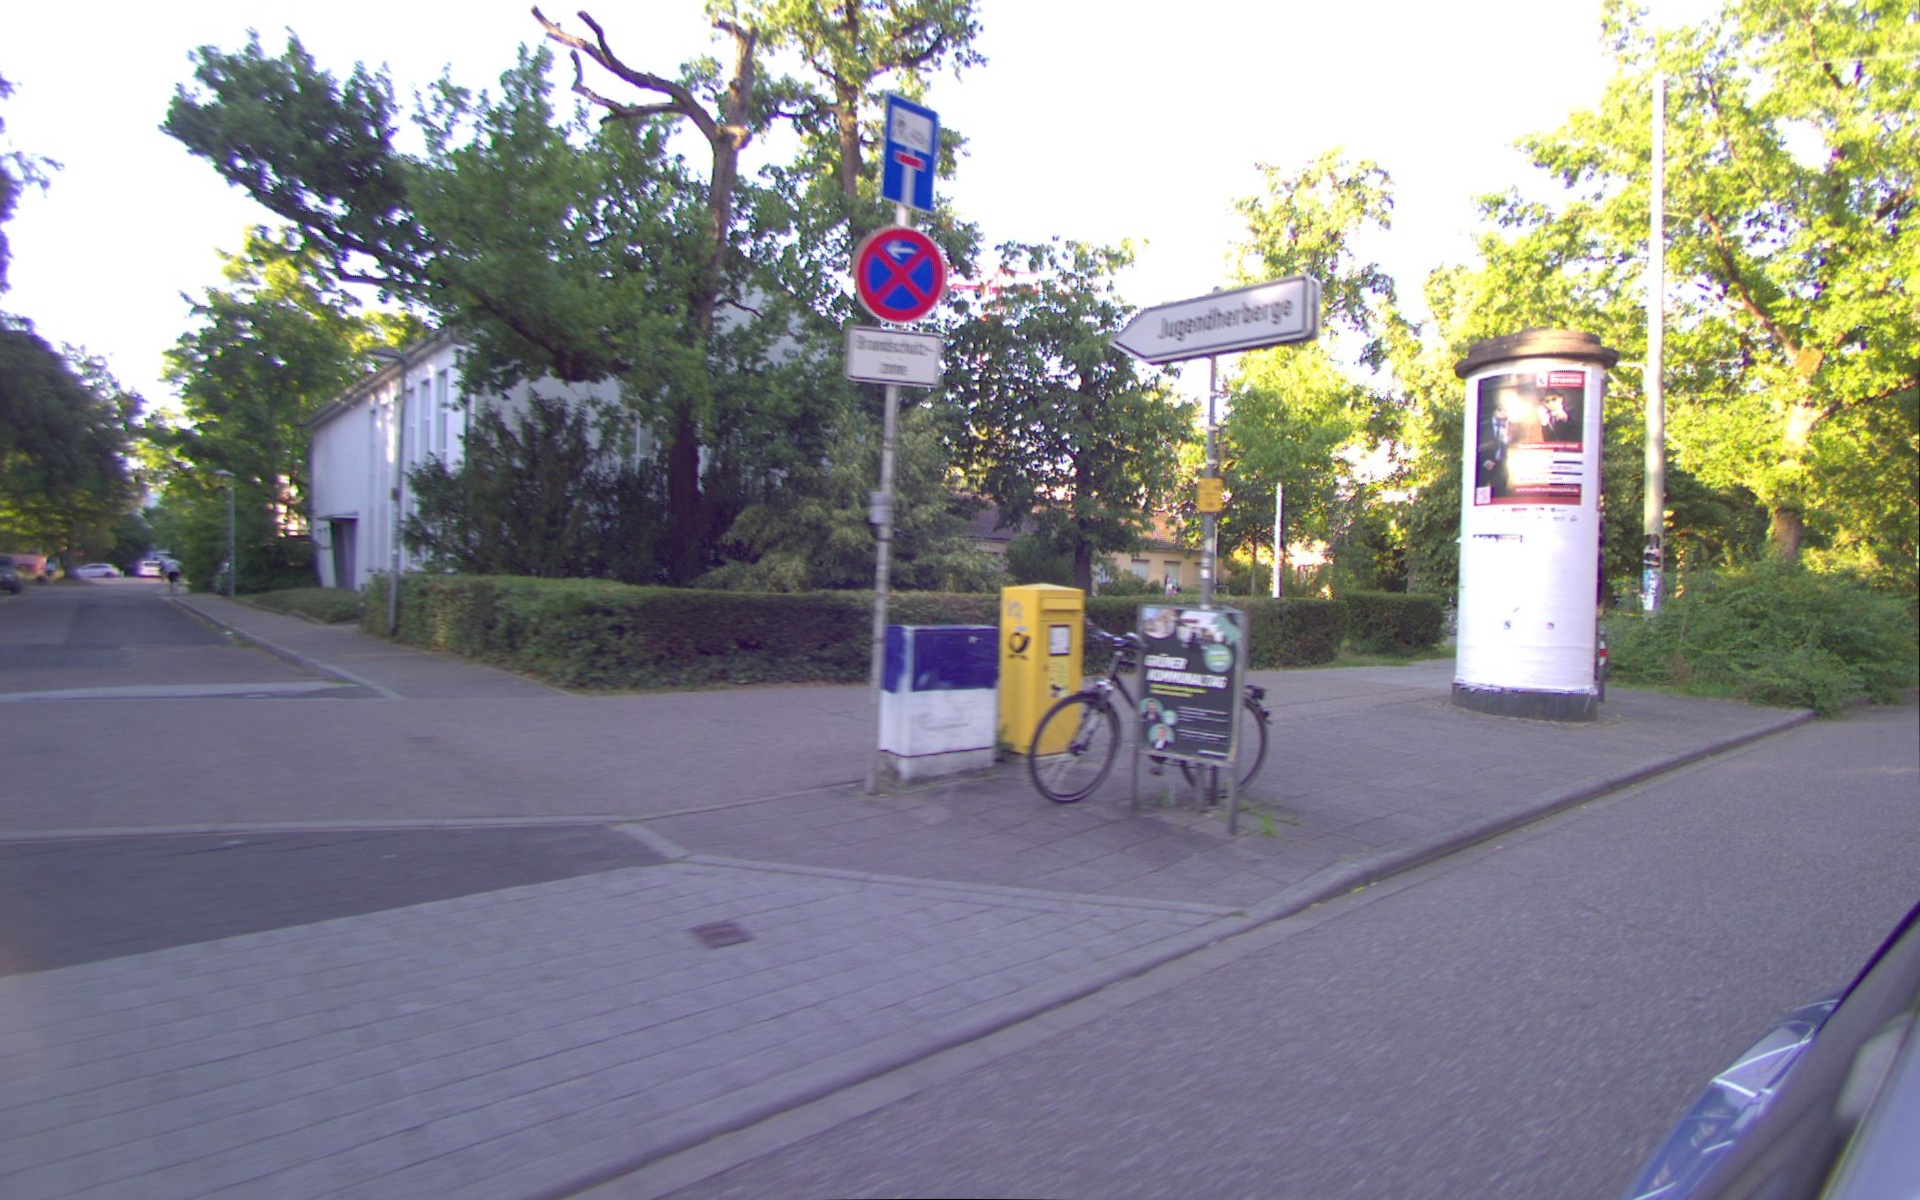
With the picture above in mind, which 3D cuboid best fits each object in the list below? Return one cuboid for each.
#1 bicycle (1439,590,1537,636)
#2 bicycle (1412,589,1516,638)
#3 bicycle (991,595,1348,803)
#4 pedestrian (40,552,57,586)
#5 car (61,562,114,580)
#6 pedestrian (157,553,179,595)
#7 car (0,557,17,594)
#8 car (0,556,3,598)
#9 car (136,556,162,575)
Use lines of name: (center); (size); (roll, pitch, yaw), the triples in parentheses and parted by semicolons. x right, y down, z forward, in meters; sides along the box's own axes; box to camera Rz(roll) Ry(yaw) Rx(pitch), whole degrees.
bicycle: (15.230, 0.355, 29.240); (2.433, 1.236, 0.742); (2, 1, 33)
bicycle: (13.751, 0.341, 27.633); (2.436, 1.236, 0.741); (2, 1, 37)
bicycle: (1.353, 0.603, 6.415); (2.237, 1.162, 0.495); (2, 3, -21)
pedestrian: (-51.097, -1.727, 56.743); (0.709, 1.860, 0.739); (0, 1, -43)
car: (-86.108, -2.898, 99.920); (3.930, 1.682, 1.997); (0, 1, -41)
pedestrian: (-35.731, -1.184, 45.638); (0.709, 1.860, 0.739); (0, 1, -43)
car: (-40.090, -1.032, 41.652); (1.706, 1.495, 3.995); (0, 2, -41)
car: (-34.363, -0.793, 34.927); (1.706, 1.495, 3.995); (0, 2, -41)
car: (-90.027, -3.787, 112.333); (1.966, 2.039, 3.992); (0, 1, -43)
